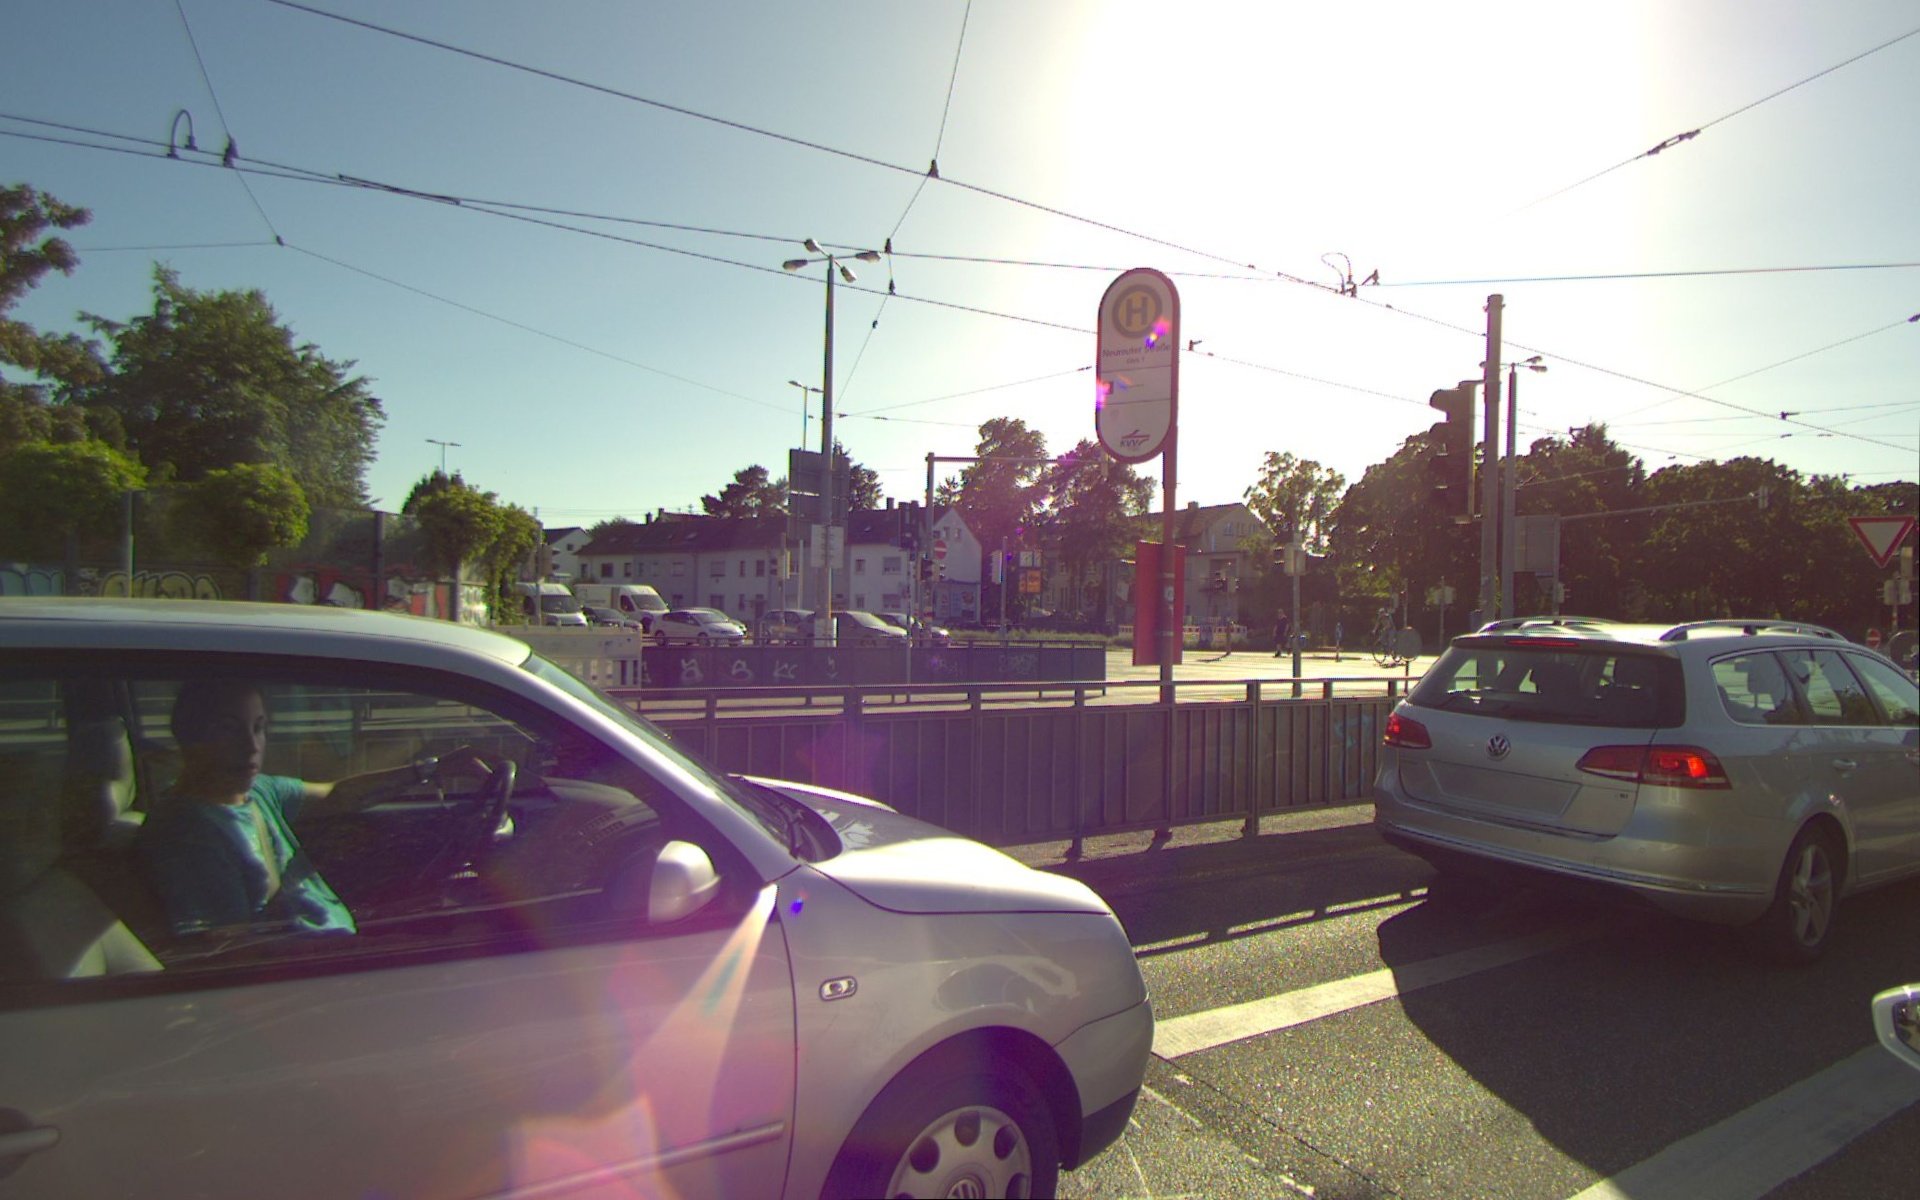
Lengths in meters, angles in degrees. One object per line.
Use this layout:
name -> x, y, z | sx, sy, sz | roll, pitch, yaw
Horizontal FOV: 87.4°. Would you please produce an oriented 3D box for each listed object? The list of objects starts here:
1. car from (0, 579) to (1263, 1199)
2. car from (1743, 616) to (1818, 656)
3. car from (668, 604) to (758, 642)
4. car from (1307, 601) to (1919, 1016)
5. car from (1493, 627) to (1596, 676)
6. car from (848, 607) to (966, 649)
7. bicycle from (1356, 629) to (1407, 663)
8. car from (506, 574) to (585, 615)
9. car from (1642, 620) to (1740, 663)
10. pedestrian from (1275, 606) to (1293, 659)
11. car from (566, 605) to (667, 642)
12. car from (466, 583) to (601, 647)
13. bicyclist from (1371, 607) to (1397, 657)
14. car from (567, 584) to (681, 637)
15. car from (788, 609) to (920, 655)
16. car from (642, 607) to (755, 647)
car -> -1.111, 0.727, 2.213 | 3.377, 1.488, 1.572 | 1, 0, -32
car -> 36.821, 1.606, 45.051 | 3.965, 1.710, 1.778 | 2, -1, -38
car -> -10.990, 1.009, 44.627 | 3.933, 1.595, 1.658 | 0, -1, 34
car -> 4.188, 0.838, 5.720 | 4.372, 1.548, 1.867 | 2, -1, -32
car -> 19.183, 1.646, 32.925 | 3.669, 1.478, 1.671 | 2, -1, -37
car -> -2.043, 1.050, 38.419 | 4.175, 1.486, 1.933 | 1, -1, 32
bicycle -> 13.787, 1.503, 32.836 | 1.926, 1.056, 0.504 | 1, -1, -31
car -> -21.404, -0.290, 51.822 | 3.930, 2.040, 1.804 | 0, -1, 32
car -> 29.480, 1.643, 40.445 | 4.646, 1.617, 1.801 | 1, -1, -35
pedestrian -> 12.194, 1.223, 37.811 | 0.599, 1.974, 0.776 | 1, 0, 16
car -> -14.848, 0.991, 43.338 | 4.185, 1.486, 1.934 | 0, -1, 32
car -> -17.890, 0.594, 41.933 | 6.765, 2.490, 2.338 | 0, -1, 39
bicyclist -> 13.894, 1.043, 32.901 | 0.641, 1.629, 0.487 | 1, -1, -31
car -> -16.336, 0.478, 48.729 | 5.822, 2.443, 2.175 | 0, -1, 34
car -> -3.765, 1.109, 35.430 | 4.556, 1.496, 1.668 | 0, -1, 32
car -> -10.364, 1.049, 39.755 | 4.290, 1.486, 1.934 | 0, -1, 32
